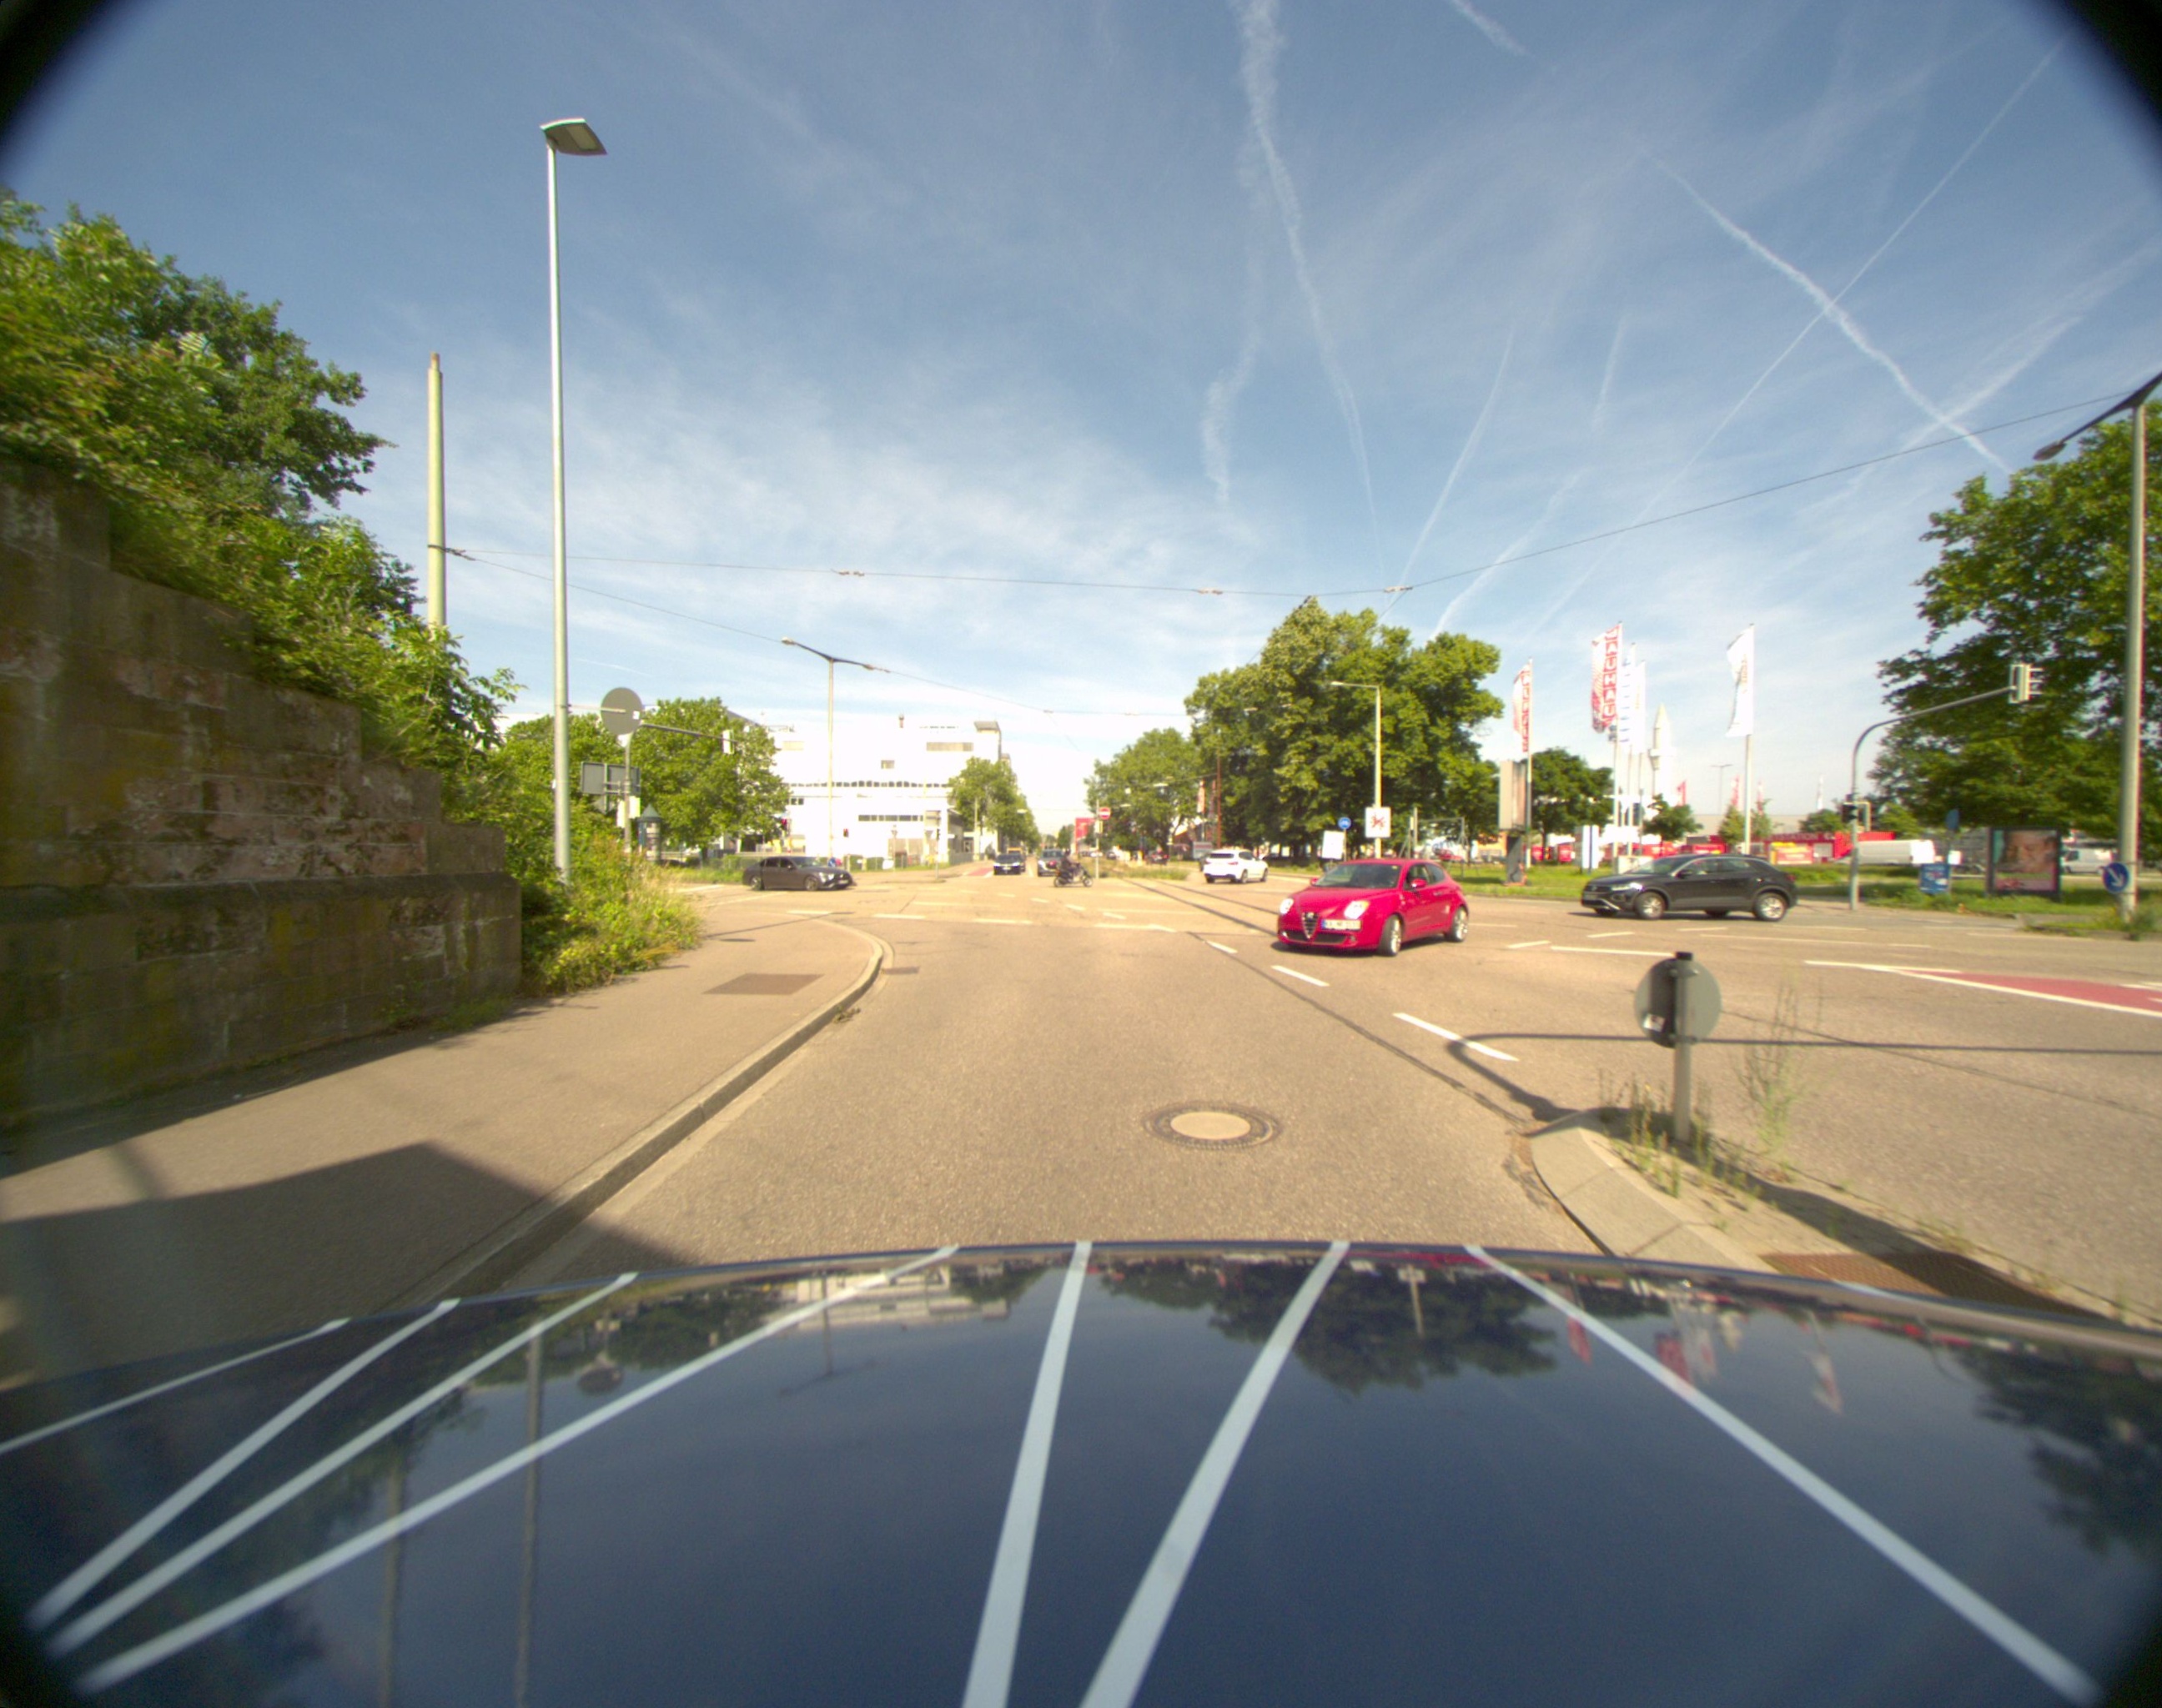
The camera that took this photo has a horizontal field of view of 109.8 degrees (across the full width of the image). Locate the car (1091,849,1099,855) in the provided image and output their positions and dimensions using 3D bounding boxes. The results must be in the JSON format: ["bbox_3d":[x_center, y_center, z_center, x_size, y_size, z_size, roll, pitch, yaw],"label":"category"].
[{"bbox_3d":[3.612,-0.624,199.357,1.850,1.502,4.342,0,1,-3],"label":"car"}]

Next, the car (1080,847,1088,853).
[{"bbox_3d":[0.715,-1.055,198.686,1.850,1.502,4.342,0,1,-3],"label":"car"}]

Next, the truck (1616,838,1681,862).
[{"bbox_3d":[63.242,-0.423,84.706,6.029,2.594,2.018,0,1,-6],"label":"truck"}]

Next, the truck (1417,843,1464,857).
[{"bbox_3d":[53.153,-0.568,112.423,6.002,1.820,2.187,1,-1,-3],"label":"truck"}]

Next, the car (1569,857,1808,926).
[{"bbox_3d":[14.294,0.844,18.114,4.075,1.536,1.876,0,0,7],"label":"car"}]

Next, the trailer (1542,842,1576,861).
[{"bbox_3d":[60.786,-0.389,96.705,1.549,2.344,4.411,1,1,2],"label":"trailer"}]

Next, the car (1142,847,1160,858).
[{"bbox_3d":[9.957,-0.245,108.247,1.850,1.502,4.392,0,1,-3],"label":"car"}]

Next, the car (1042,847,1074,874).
[{"bbox_3d":[-1.553,0.388,49.632,1.915,1.679,4.624,0,1,-4],"label":"car"}]

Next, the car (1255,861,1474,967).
[{"bbox_3d":[4.659,0.865,12.210,3.917,1.430,1.655,2,-1,-42],"label":"car"}]

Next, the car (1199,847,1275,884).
[{"bbox_3d":[7.748,0.513,37.399,1.910,1.679,4.636,0,1,36],"label":"car"}]

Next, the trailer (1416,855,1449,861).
[{"bbox_3d":[43.605,0.469,94.388,2.098,0.777,4.411,0,0,1],"label":"trailer"}]

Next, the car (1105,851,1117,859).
[{"bbox_3d":[5.831,0.211,146.894,1.850,1.502,4.342,0,1,-3],"label":"car"}]

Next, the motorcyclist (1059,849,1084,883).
[{"bbox_3d":[-0.388,0.493,31.996,0.874,1.438,0.736,0,1,-20],"label":"motorcyclist"}]

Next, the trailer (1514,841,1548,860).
[{"bbox_3d":[57.581,-0.448,97.316,1.590,2.363,4.410,1,1,-1],"label":"trailer"}]

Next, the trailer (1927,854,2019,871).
[{"bbox_3d":[65.812,0.634,56.157,2.068,1.116,4.030,-2,1,-2],"label":"trailer"}]

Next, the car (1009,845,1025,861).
[{"bbox_3d":[-7.375,-0.087,88.143,1.781,1.799,4.624,0,1,-4],"label":"car"}]

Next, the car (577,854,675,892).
[{"bbox_3d":[-19.521,0.770,32.573,3.989,1.552,1.859,0,1,30],"label":"car"}]

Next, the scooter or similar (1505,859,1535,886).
[{"bbox_3d":[19.042,0.785,32.937,1.121,1.120,0.426,0,1,31],"label":"scooter or similar"}]

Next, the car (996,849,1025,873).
[{"bbox_3d":[-5.069,0.470,55.115,1.915,1.679,4.624,0,1,-4],"label":"car"}]

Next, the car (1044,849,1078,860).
[{"bbox_3d":[-2.997,0.034,113.268,4.631,1.679,1.912,0,1,-21],"label":"car"}]

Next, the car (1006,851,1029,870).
[{"bbox_3d":[-5.218,0.507,62.803,1.781,1.435,4.624,0,1,-4],"label":"car"}]

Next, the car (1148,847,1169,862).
[{"bbox_3d":[8.591,0.002,84.323,1.813,1.596,4.377,0,1,-2],"label":"car"}]

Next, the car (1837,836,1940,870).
[{"bbox_3d":[65.409,-0.111,61.746,2.019,2.527,5.685,-2,1,-6],"label":"car"}]

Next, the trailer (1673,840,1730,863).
[{"bbox_3d":[64.424,-0.265,78.972,4.408,2.363,1.751,1,2,0],"label":"trailer"}]

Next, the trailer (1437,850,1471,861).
[{"bbox_3d":[46.683,0.200,95.142,1.591,1.279,4.408,0,0,-7],"label":"trailer"}]

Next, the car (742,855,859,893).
[{"bbox_3d":[-11.349,0.769,30.700,4.461,1.371,1.722,0,2,24],"label":"car"}]

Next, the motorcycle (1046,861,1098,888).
[{"bbox_3d":[-0.369,0.839,32.010,2.045,1.076,0.736,0,1,-20],"label":"motorcycle"}]
